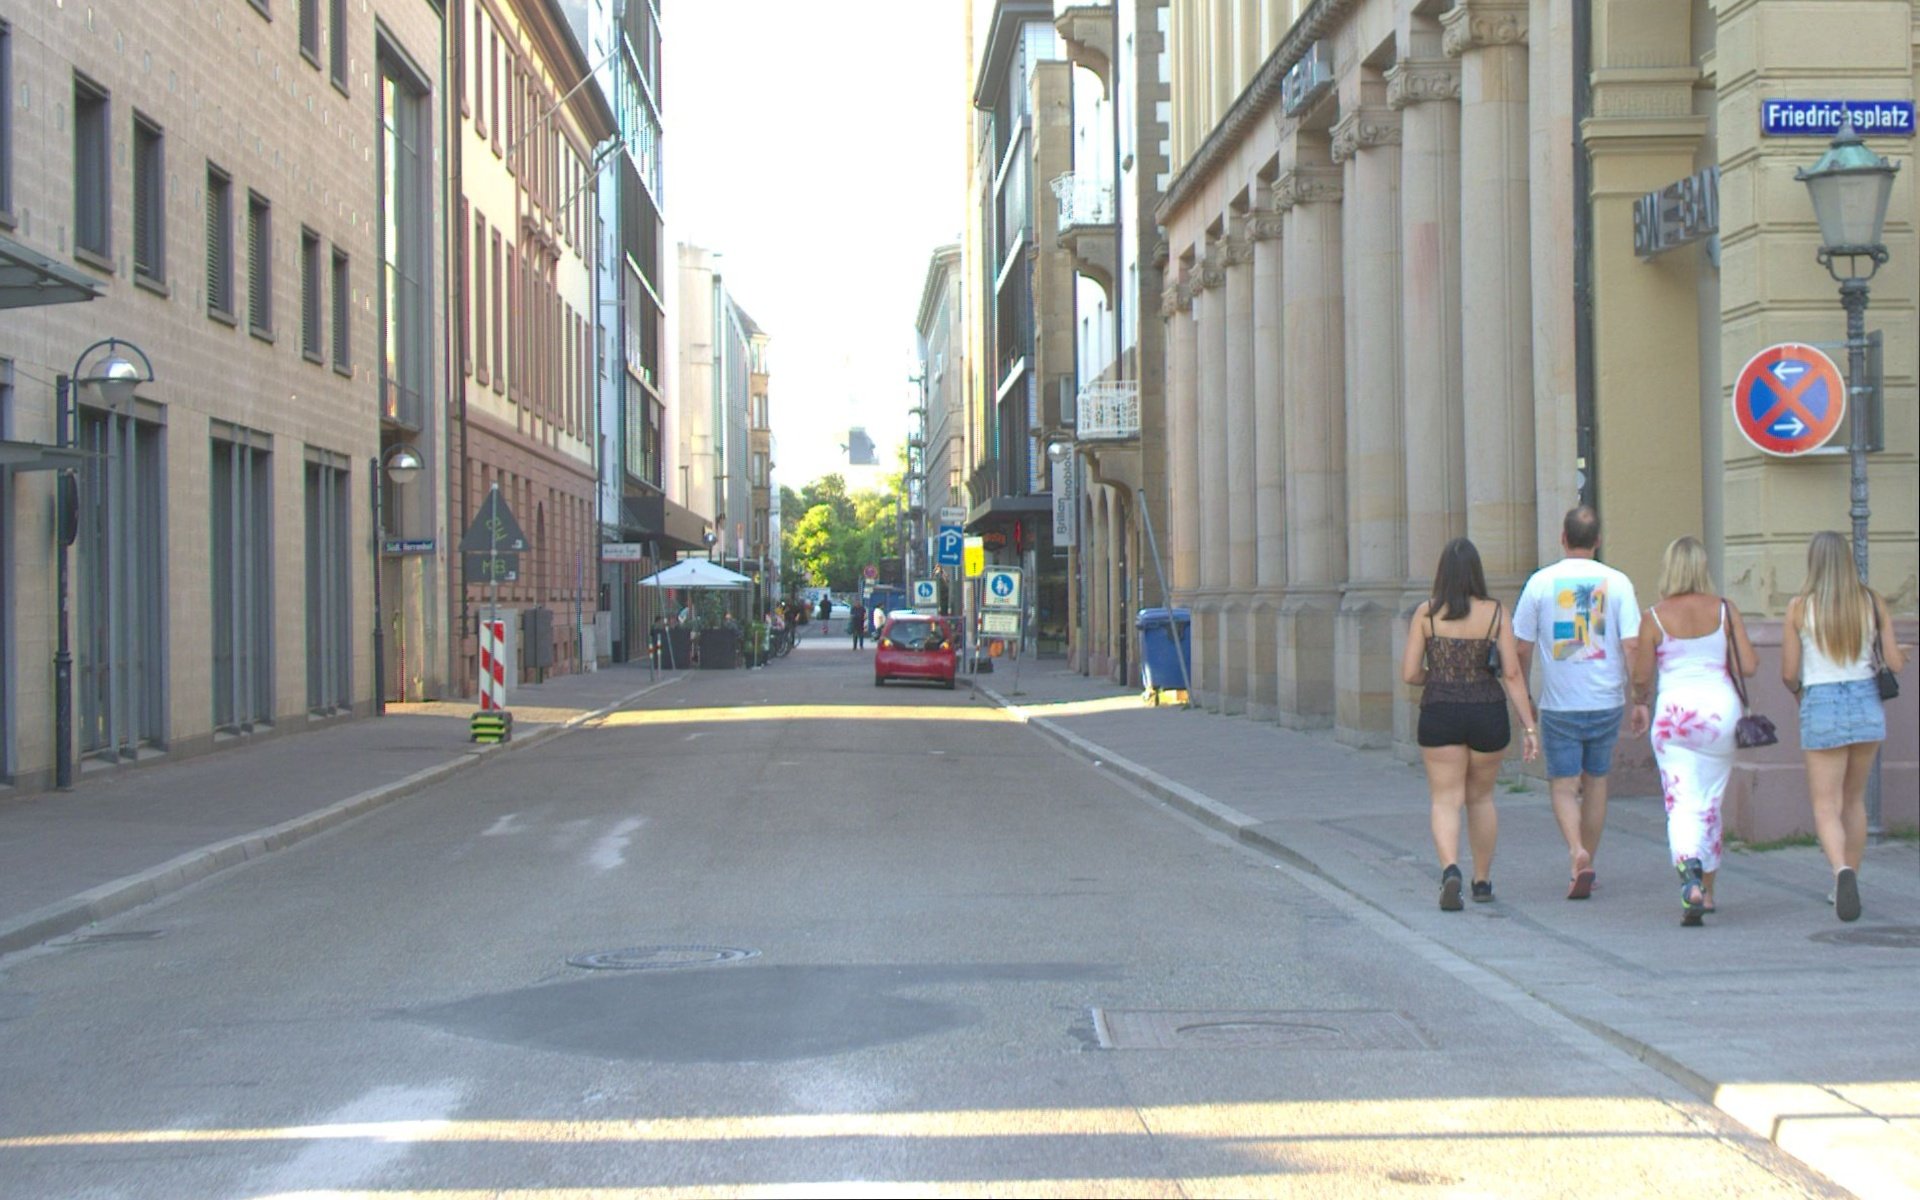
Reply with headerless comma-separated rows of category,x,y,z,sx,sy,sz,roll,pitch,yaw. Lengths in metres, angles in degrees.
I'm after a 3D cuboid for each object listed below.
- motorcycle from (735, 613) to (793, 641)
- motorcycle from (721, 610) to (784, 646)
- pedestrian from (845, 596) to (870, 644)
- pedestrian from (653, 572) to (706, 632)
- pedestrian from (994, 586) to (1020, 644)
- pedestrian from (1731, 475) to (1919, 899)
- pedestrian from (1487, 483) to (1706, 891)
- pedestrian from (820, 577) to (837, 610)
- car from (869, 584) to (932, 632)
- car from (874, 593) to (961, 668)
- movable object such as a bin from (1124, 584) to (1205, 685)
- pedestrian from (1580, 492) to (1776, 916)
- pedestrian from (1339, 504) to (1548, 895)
motorcycle,-6.219,0.850,109.070,1.801,0.872,0.560,0,0,-5
motorcycle,-6.092,0.830,100.933,1.801,1.037,0.494,0,0,-5
pedestrian,-3.705,0.725,124.140,0.865,1.707,0.852,0,0,-2
pedestrian,-6.932,0.050,84.959,1.290,1.482,0.661,0,0,-3
pedestrian,1.212,0.391,89.327,0.656,1.482,0.493,-1,0,1
pedestrian,3.812,0.369,15.066,0.636,1.797,0.772,-1,0,-3
pedestrian,3.003,0.399,16.296,0.812,1.869,0.875,-1,0,-3
pedestrian,-6.733,-0.327,175.637,0.804,1.667,0.888,-1,0,0
car,-2.071,0.256,118.558,1.993,1.605,4.000,0,0,-3
car,-0.875,0.594,69.279,1.649,1.422,3.535,2,0,-1
movable object such as a bin,2.873,0.480,48.484,0.990,1.387,1.241,-1,0,-2
pedestrian,3.129,0.440,15.038,0.636,1.797,0.772,-1,0,-3
pedestrian,2.222,0.446,15.886,0.775,1.740,0.875,-1,0,-3
